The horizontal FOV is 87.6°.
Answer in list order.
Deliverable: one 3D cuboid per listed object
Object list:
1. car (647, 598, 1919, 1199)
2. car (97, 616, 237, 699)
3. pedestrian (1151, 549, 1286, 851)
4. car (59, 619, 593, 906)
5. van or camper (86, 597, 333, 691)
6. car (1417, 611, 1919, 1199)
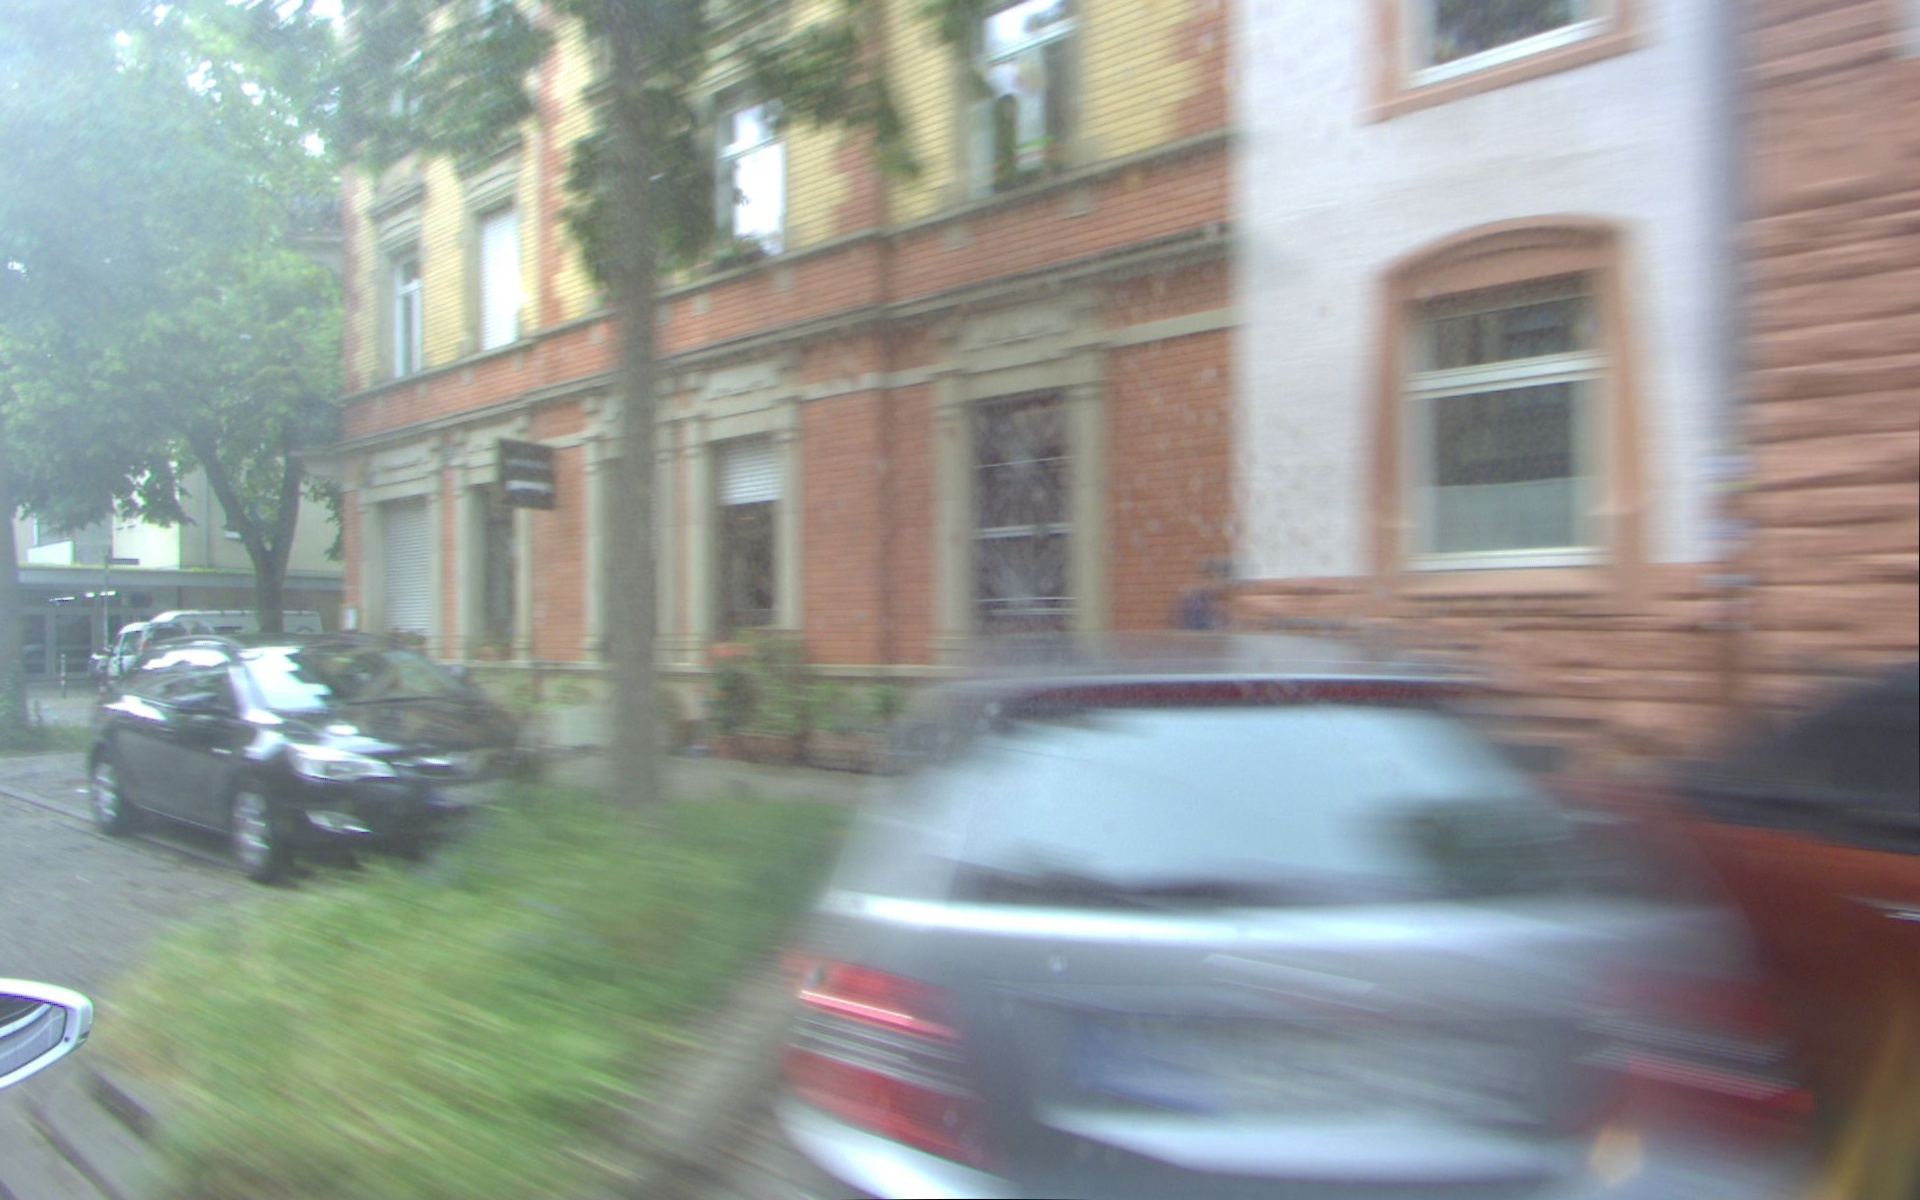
[{"bbox_3d":[0.620,0.743,3.542,1.724,1.446,4.444,-1,0,5],"label":"car"},{"bbox_3d":[-19.159,1.331,24.145,3.950,1.842,1.764,-1,-1,38],"label":"car"},{"bbox_3d":[1.621,0.593,6.262,0.654,1.755,0.596,-1,0,33],"label":"pedestrian"},{"bbox_3d":[-4.837,0.938,7.413,4.419,1.506,1.759,-1,0,35],"label":"car"},{"bbox_3d":[-22.635,1.253,30.419,2.112,2.528,5.739,3,1,43],"label":"van or camper"},{"bbox_3d":[2.997,0.778,2.974,1.712,1.454,3.885,0,-1,4],"label":"car"}]
